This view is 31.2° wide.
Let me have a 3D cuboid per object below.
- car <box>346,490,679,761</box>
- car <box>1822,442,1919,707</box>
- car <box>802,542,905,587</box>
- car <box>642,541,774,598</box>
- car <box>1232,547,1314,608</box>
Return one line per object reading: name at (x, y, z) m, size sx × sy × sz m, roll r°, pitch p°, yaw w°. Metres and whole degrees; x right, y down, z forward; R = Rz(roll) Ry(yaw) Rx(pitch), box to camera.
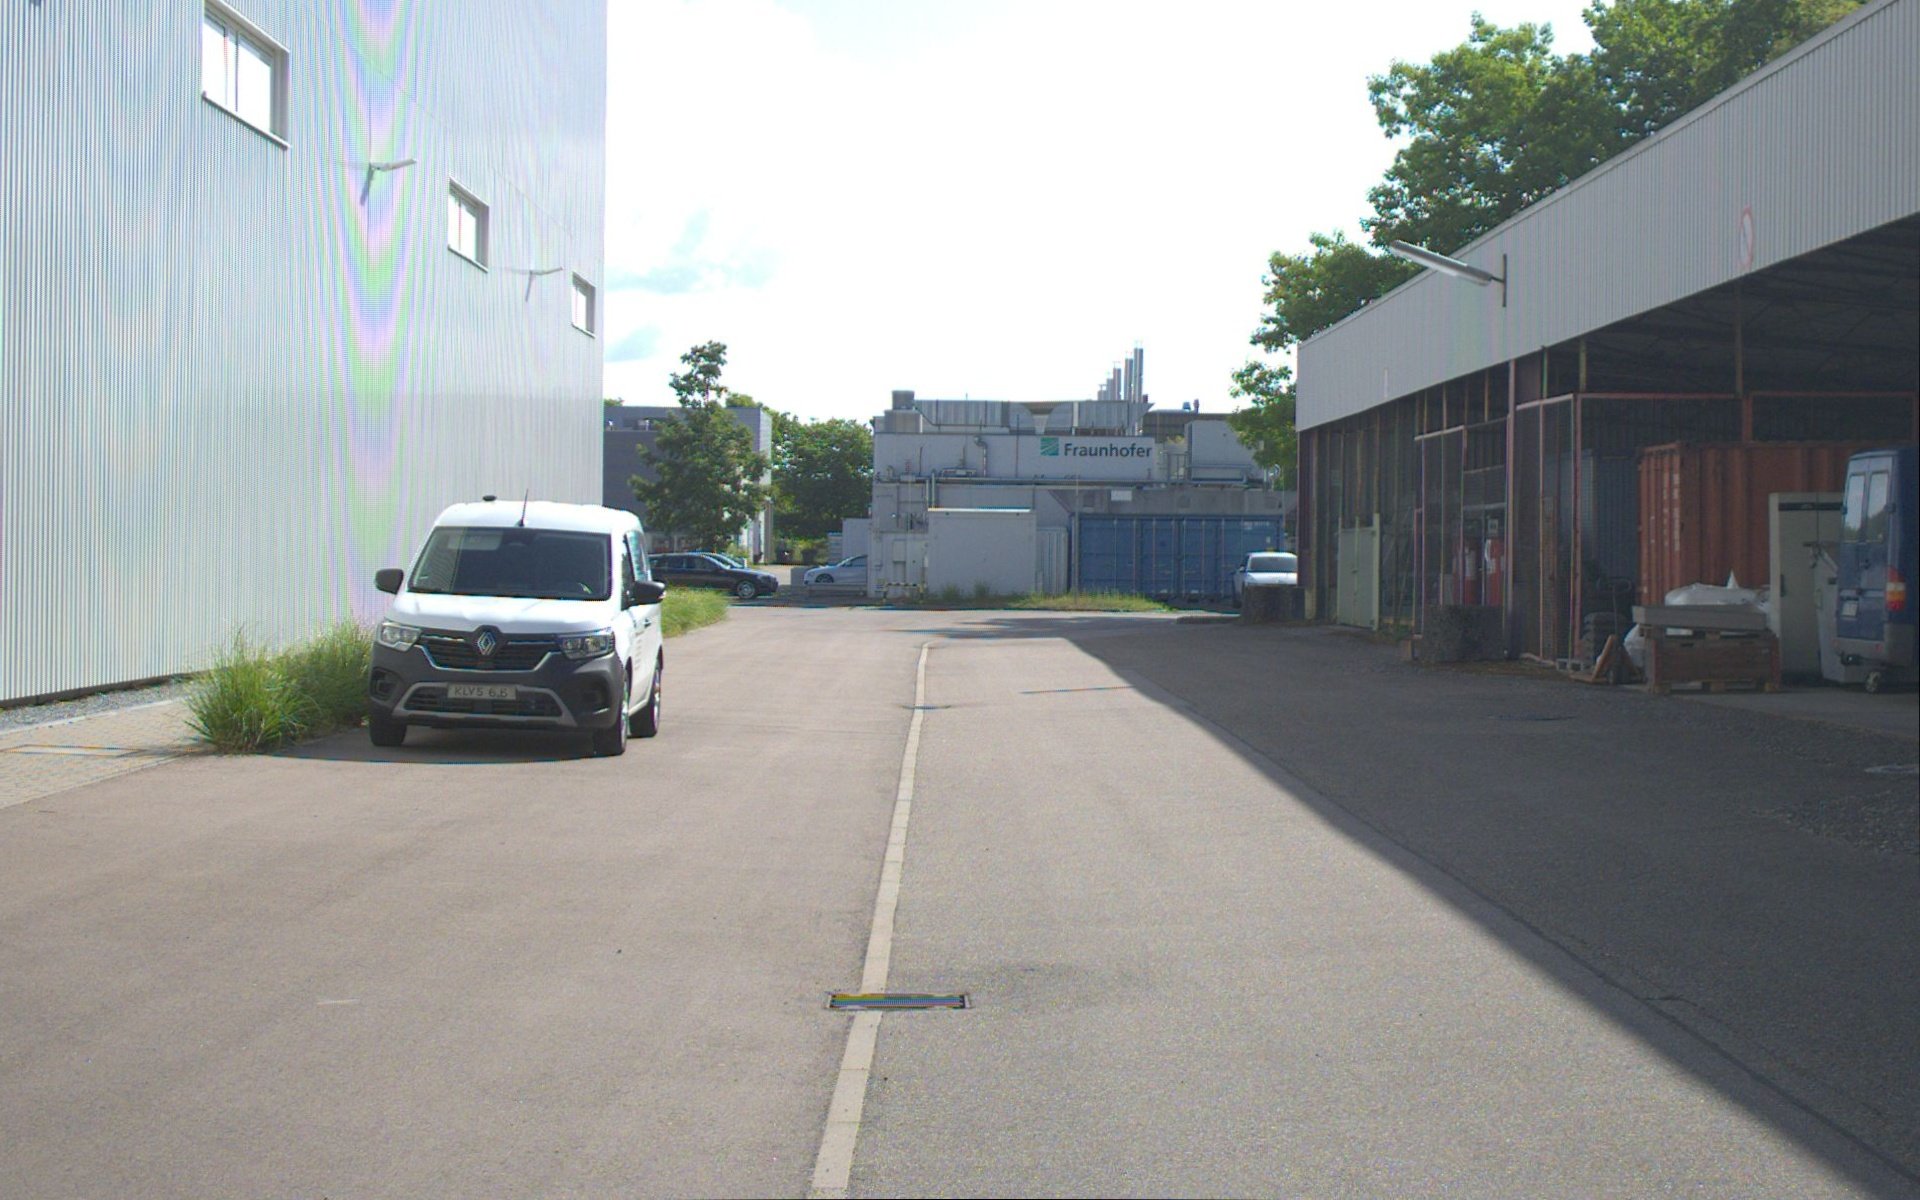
car at (-3.223, 0.129, 25.570) m, size 1.818 × 1.781 × 4.405 m, roll 2°, pitch 1°, yaw 0°
car at (10.214, -0.132, 30.840) m, size 4.433 × 2.302 × 1.915 m, roll 2°, pitch -1°, yaw 1°
car at (-4.193, -1.386, 135.669) m, size 3.987 × 1.592 × 1.848 m, roll 2°, pitch -1°, yaw -1°
car at (-7.897, -0.941, 107.805) m, size 3.987 × 1.592 × 1.742 m, roll 2°, pitch -1°, yaw -1°
car at (8.661, -0.643, 95.322) m, size 1.962 × 1.559 × 4.059 m, roll 2°, pitch 1°, yaw 2°
